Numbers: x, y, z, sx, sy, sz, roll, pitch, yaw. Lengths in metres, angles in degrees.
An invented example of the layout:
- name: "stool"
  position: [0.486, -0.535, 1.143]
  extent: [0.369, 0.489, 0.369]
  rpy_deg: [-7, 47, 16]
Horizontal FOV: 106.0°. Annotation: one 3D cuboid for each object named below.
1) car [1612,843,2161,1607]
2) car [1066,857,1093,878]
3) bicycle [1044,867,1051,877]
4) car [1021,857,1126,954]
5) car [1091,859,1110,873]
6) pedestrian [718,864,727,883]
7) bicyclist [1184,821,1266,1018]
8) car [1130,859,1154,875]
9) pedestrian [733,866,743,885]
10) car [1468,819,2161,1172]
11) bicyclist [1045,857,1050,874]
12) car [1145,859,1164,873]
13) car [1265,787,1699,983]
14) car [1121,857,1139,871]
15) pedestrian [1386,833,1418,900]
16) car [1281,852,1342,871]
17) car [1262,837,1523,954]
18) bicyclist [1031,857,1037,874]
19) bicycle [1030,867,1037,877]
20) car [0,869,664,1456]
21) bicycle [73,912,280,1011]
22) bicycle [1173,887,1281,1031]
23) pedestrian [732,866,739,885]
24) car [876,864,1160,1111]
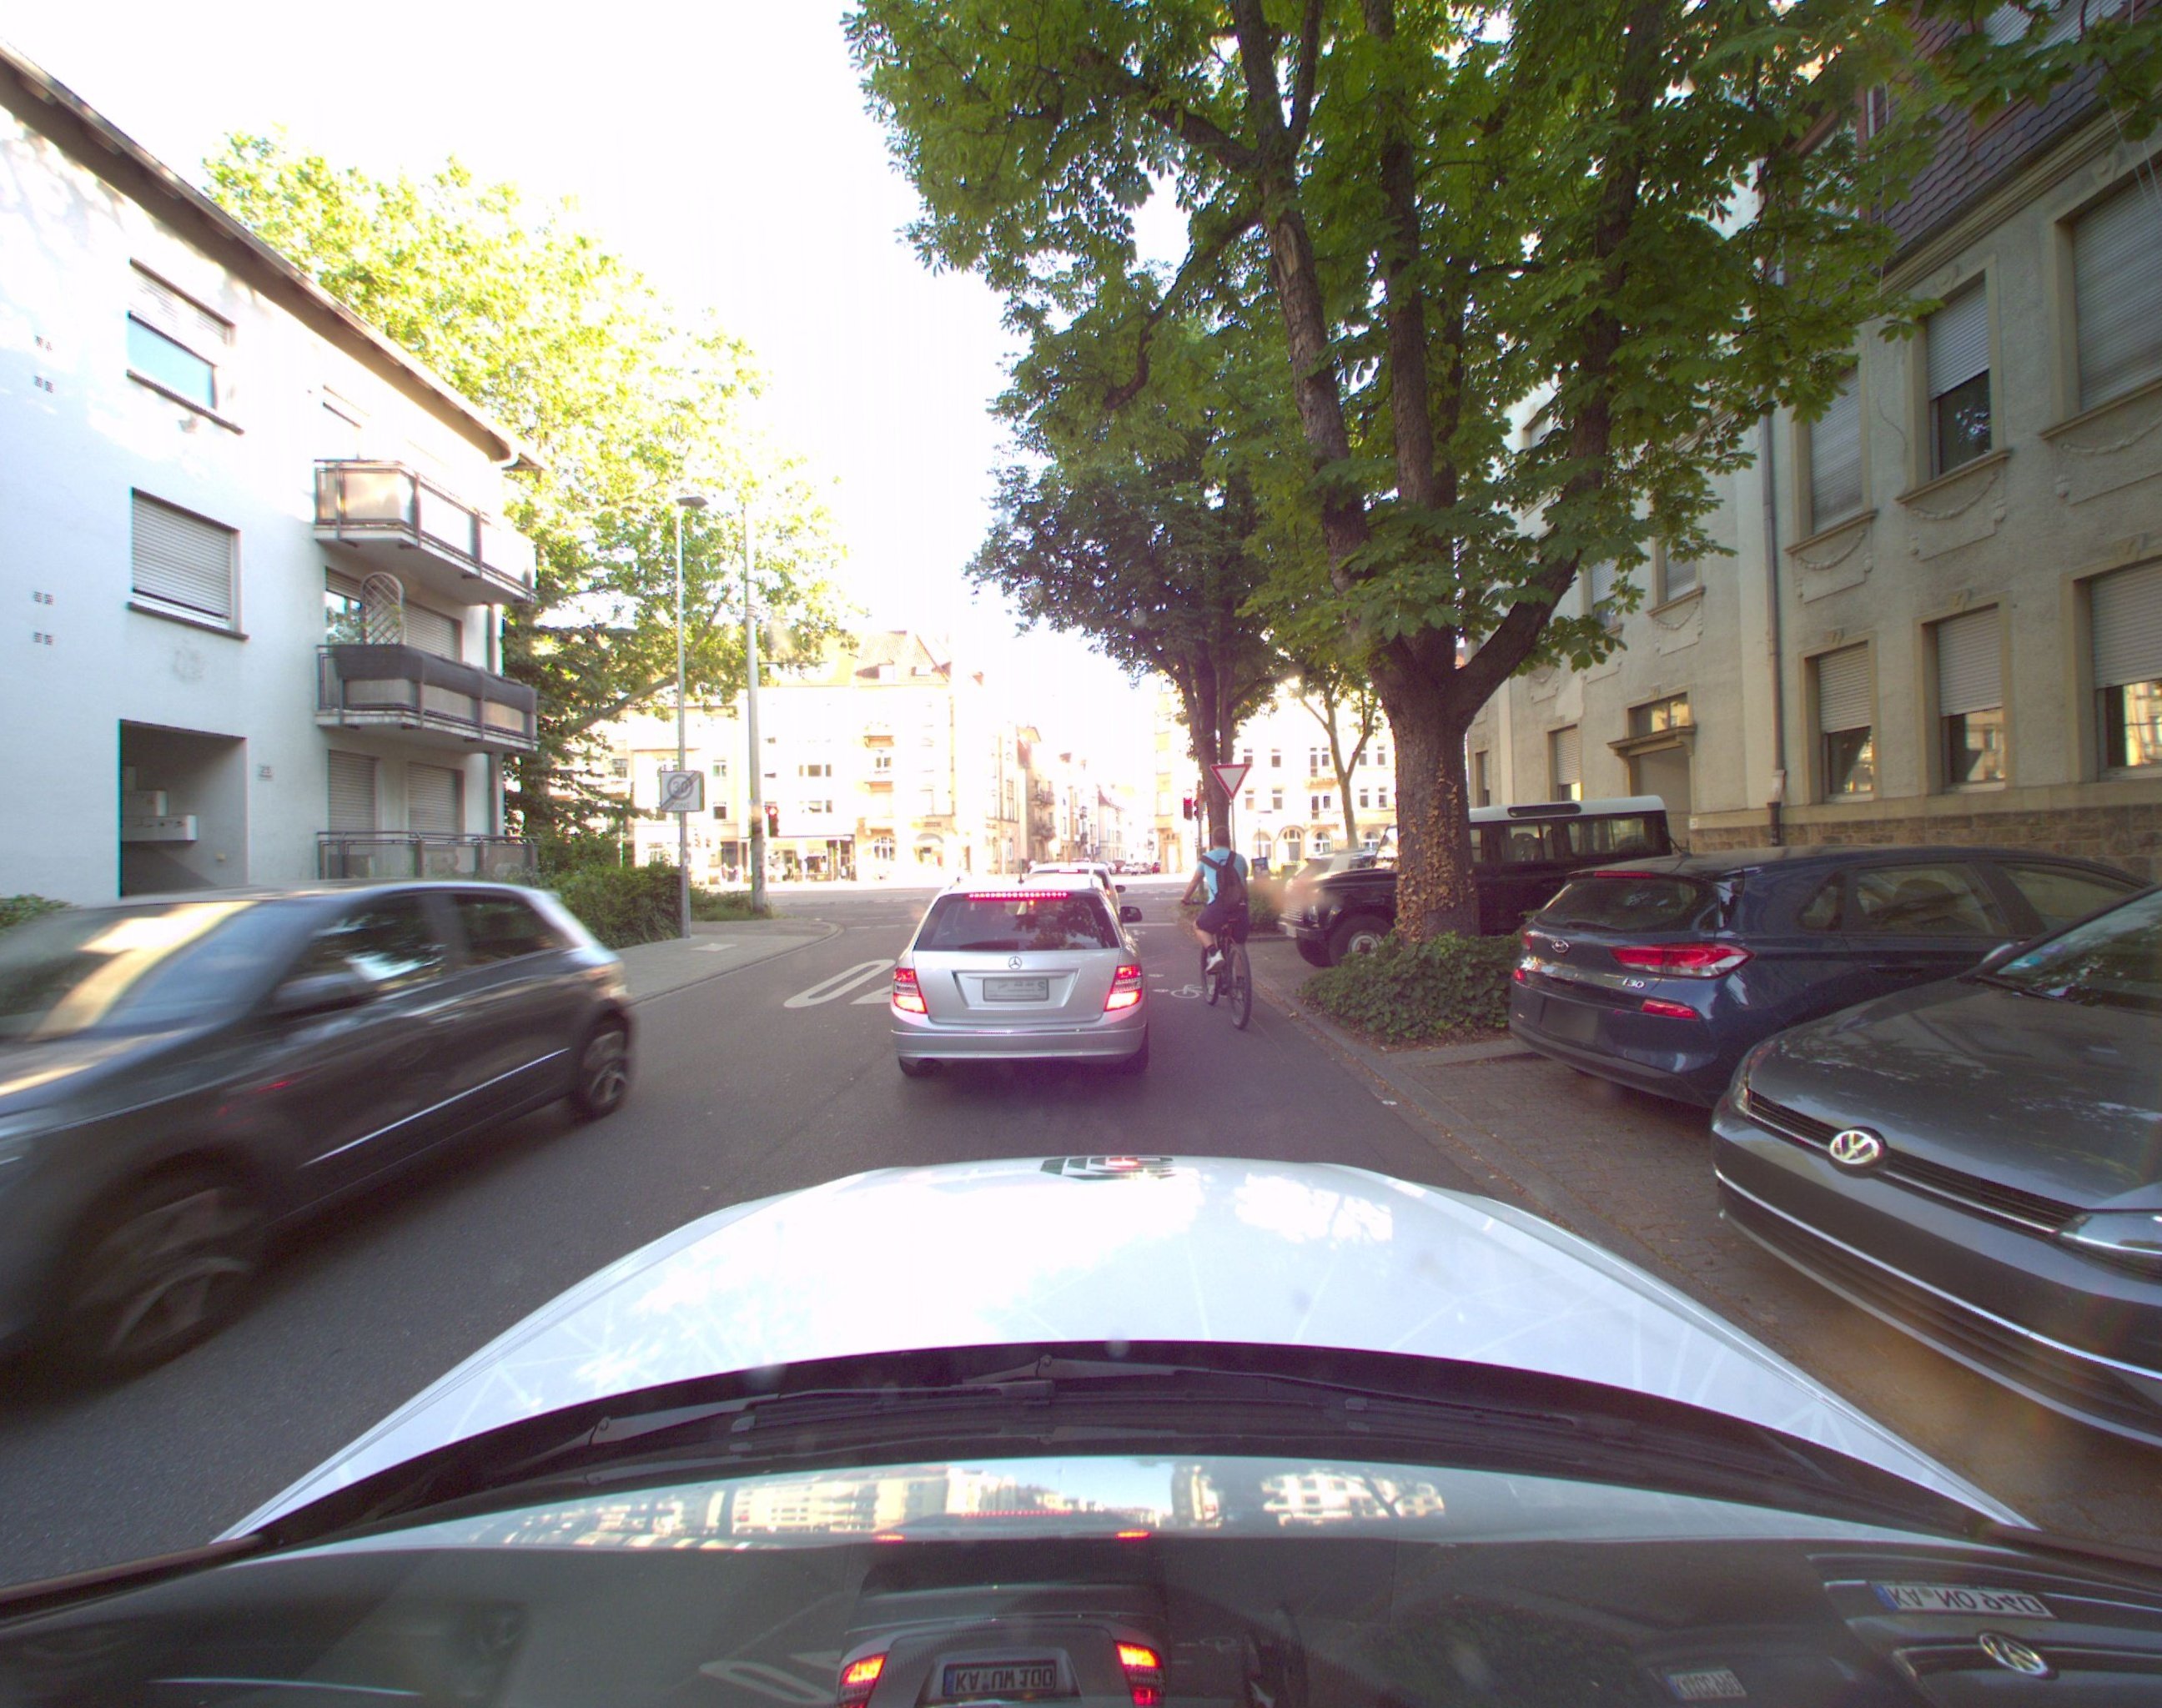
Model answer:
- name: "car"
  position: [4.085, 0.661, 2.331]
  extent: [4.037, 1.422, 1.627]
  rpy_deg: [-3, -1, -2]
- name: "car"
  position: [-0.105, 1.331, 79.946]
  extent: [1.926, 1.958, 4.161]
  rpy_deg: [-2, 0, 10]
- name: "bicycle"
  position: [-3.012, 1.604, 73.461]
  extent: [0.567, 0.834, 1.565]
  rpy_deg: [-2, 0, -1]
- name: "car"
  position: [-0.100, 0.767, 13.888]
  extent: [1.528, 1.391, 3.599]
  rpy_deg: [-1, 0, 0]
- name: "car"
  position: [2.522, 1.534, 102.549]
  extent: [1.639, 1.783, 3.876]
  rpy_deg: [-1, -1, 13]
- name: "pedestrian"
  position: [-28.164, 1.524, 64.033]
  extent: [0.566, 1.511, 0.499]
  rpy_deg: [-1, 0, -17]
- name: "bicyclist"
  position: [1.351, 0.596, 7.769]
  extent: [0.644, 1.775, 0.831]
  rpy_deg: [0, -1, 1]
- name: "car"
  position: [6.472, 1.310, 85.895]
  extent: [1.708, 1.478, 4.016]
  rpy_deg: [-3, 0, 14]
- name: "pedestrian"
  position: [-27.498, 1.713, 65.326]
  extent: [0.507, 1.511, 0.536]
  rpy_deg: [-1, 0, -3]
- name: "car"
  position: [4.427, 0.614, 4.512]
  extent: [3.739, 1.422, 1.627]
  rpy_deg: [-3, -1, -2]
- name: "bicyclist"
  position: [-3.030, 1.026, 73.559]
  extent: [0.465, 1.521, 0.693]
  rpy_deg: [-1, 0, -2]
- name: "car"
  position: [9.216, 1.455, 102.029]
  extent: [1.709, 1.478, 4.016]
  rpy_deg: [-6, -1, 14]
- name: "car"
  position: [4.791, 0.349, 10.191]
  extent: [4.478, 1.956, 1.792]
  rpy_deg: [-3, 0, -1]
- name: "car"
  position: [6.473, 1.306, 107.311]
  extent: [1.675, 1.722, 4.014]
  rpy_deg: [-2, 0, 13]
- name: "pedestrian"
  position: [8.985, 0.352, 22.810]
  extent: [0.630, 1.845, 0.574]
  rpy_deg: [-1, 0, -2]
- name: "car"
  position: [14.126, 0.468, 50.033]
  extent: [3.352, 1.069, 1.380]
  rpy_deg: [-2, 0, 0]
- name: "car"
  position: [4.886, 0.614, 13.067]
  extent: [3.475, 1.586, 1.708]
  rpy_deg: [-3, 0, -5]
- name: "bicyclist"
  position: [-4.270, 1.049, 73.607]
  extent: [0.465, 1.514, 0.655]
  rpy_deg: [-1, 0, -2]
- name: "bicycle"
  position: [-4.263, 1.642, 73.621]
  extent: [0.567, 0.834, 1.565]
  rpy_deg: [-2, 0, -1]
- name: "car"
  position: [-3.725, 0.892, 3.877]
  extent: [1.611, 1.501, 3.590]
  rpy_deg: [-3, 0, -2]
- name: "bicycle"
  position: [-10.006, 1.161, 9.078]
  extent: [1.469, 0.975, 0.402]
  rpy_deg: [1, -2, -38]
- name: "bicycle"
  position: [1.342, 0.924, 7.859]
  extent: [0.739, 1.118, 2.014]
  rpy_deg: [0, 0, 2]
- name: "pedestrian"
  position: [-27.386, 1.704, 64.577]
  extent: [0.474, 1.511, 0.428]
  rpy_deg: [-1, 0, -18]
- name: "car"
  position: [-0.394, 0.812, 6.610]
  extent: [1.685, 1.429, 3.491]
  rpy_deg: [0, 0, -1]
